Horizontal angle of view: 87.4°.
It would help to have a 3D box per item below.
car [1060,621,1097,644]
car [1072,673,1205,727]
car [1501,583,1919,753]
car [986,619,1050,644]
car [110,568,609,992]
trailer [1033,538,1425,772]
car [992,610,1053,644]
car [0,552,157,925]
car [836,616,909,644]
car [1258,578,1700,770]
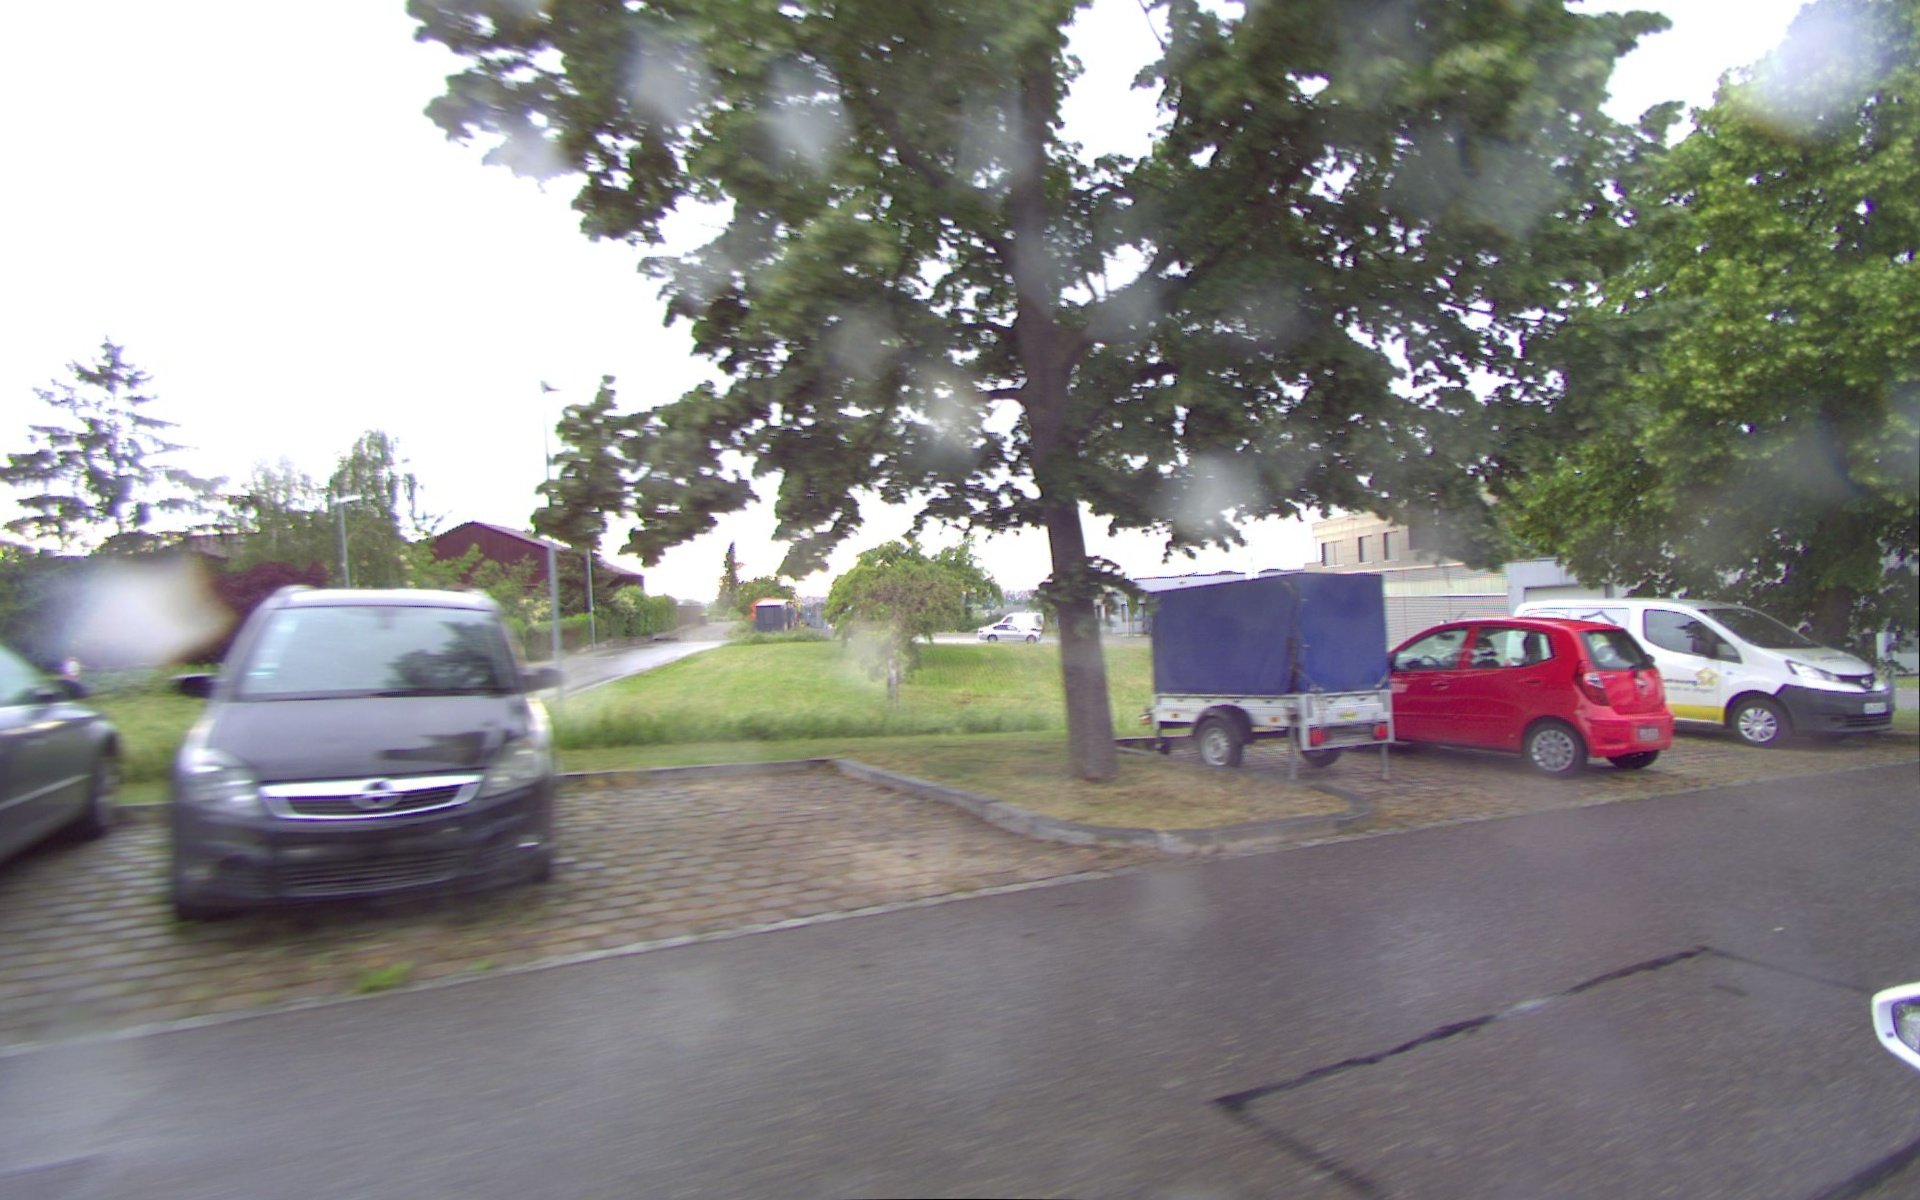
[{"bbox_3d":[10.086,2.753,85.523,2.237,1.879,4.716,-1,-1,-4],"label":"car"},{"bbox_3d":[5.227,2.937,29.755,3.634,1.465,1.563,0,-2,-2],"label":"car"},{"bbox_3d":[9.947,0.874,13.737,1.835,1.930,4.292,1,-3,-22],"label":"car"},{"bbox_3d":[4.253,2.346,74.351,4.529,1.669,2.292,-1,-3,-1],"label":"car"},{"bbox_3d":[-3.490,0.705,6.285,1.783,1.611,4.599,1,-1,-28],"label":"car"},{"bbox_3d":[2.637,0.570,10.914,1.752,2.010,4.196,1,-3,-28],"label":"trailer"},{"bbox_3d":[6.891,3.018,111.504,6.598,3.469,2.545,-1,-3,-1],"label":"car"},{"bbox_3d":[-5.589,0.629,4.695,1.999,1.744,4.059,1,-1,-26],"label":"car"},{"bbox_3d":[-6.535,2.252,75.800,5.315,2.000,2.292,0,-3,-1],"label":"car"},{"bbox_3d":[5.576,0.768,11.378,1.735,1.744,4.175,2,-3,-31],"label":"car"}]
